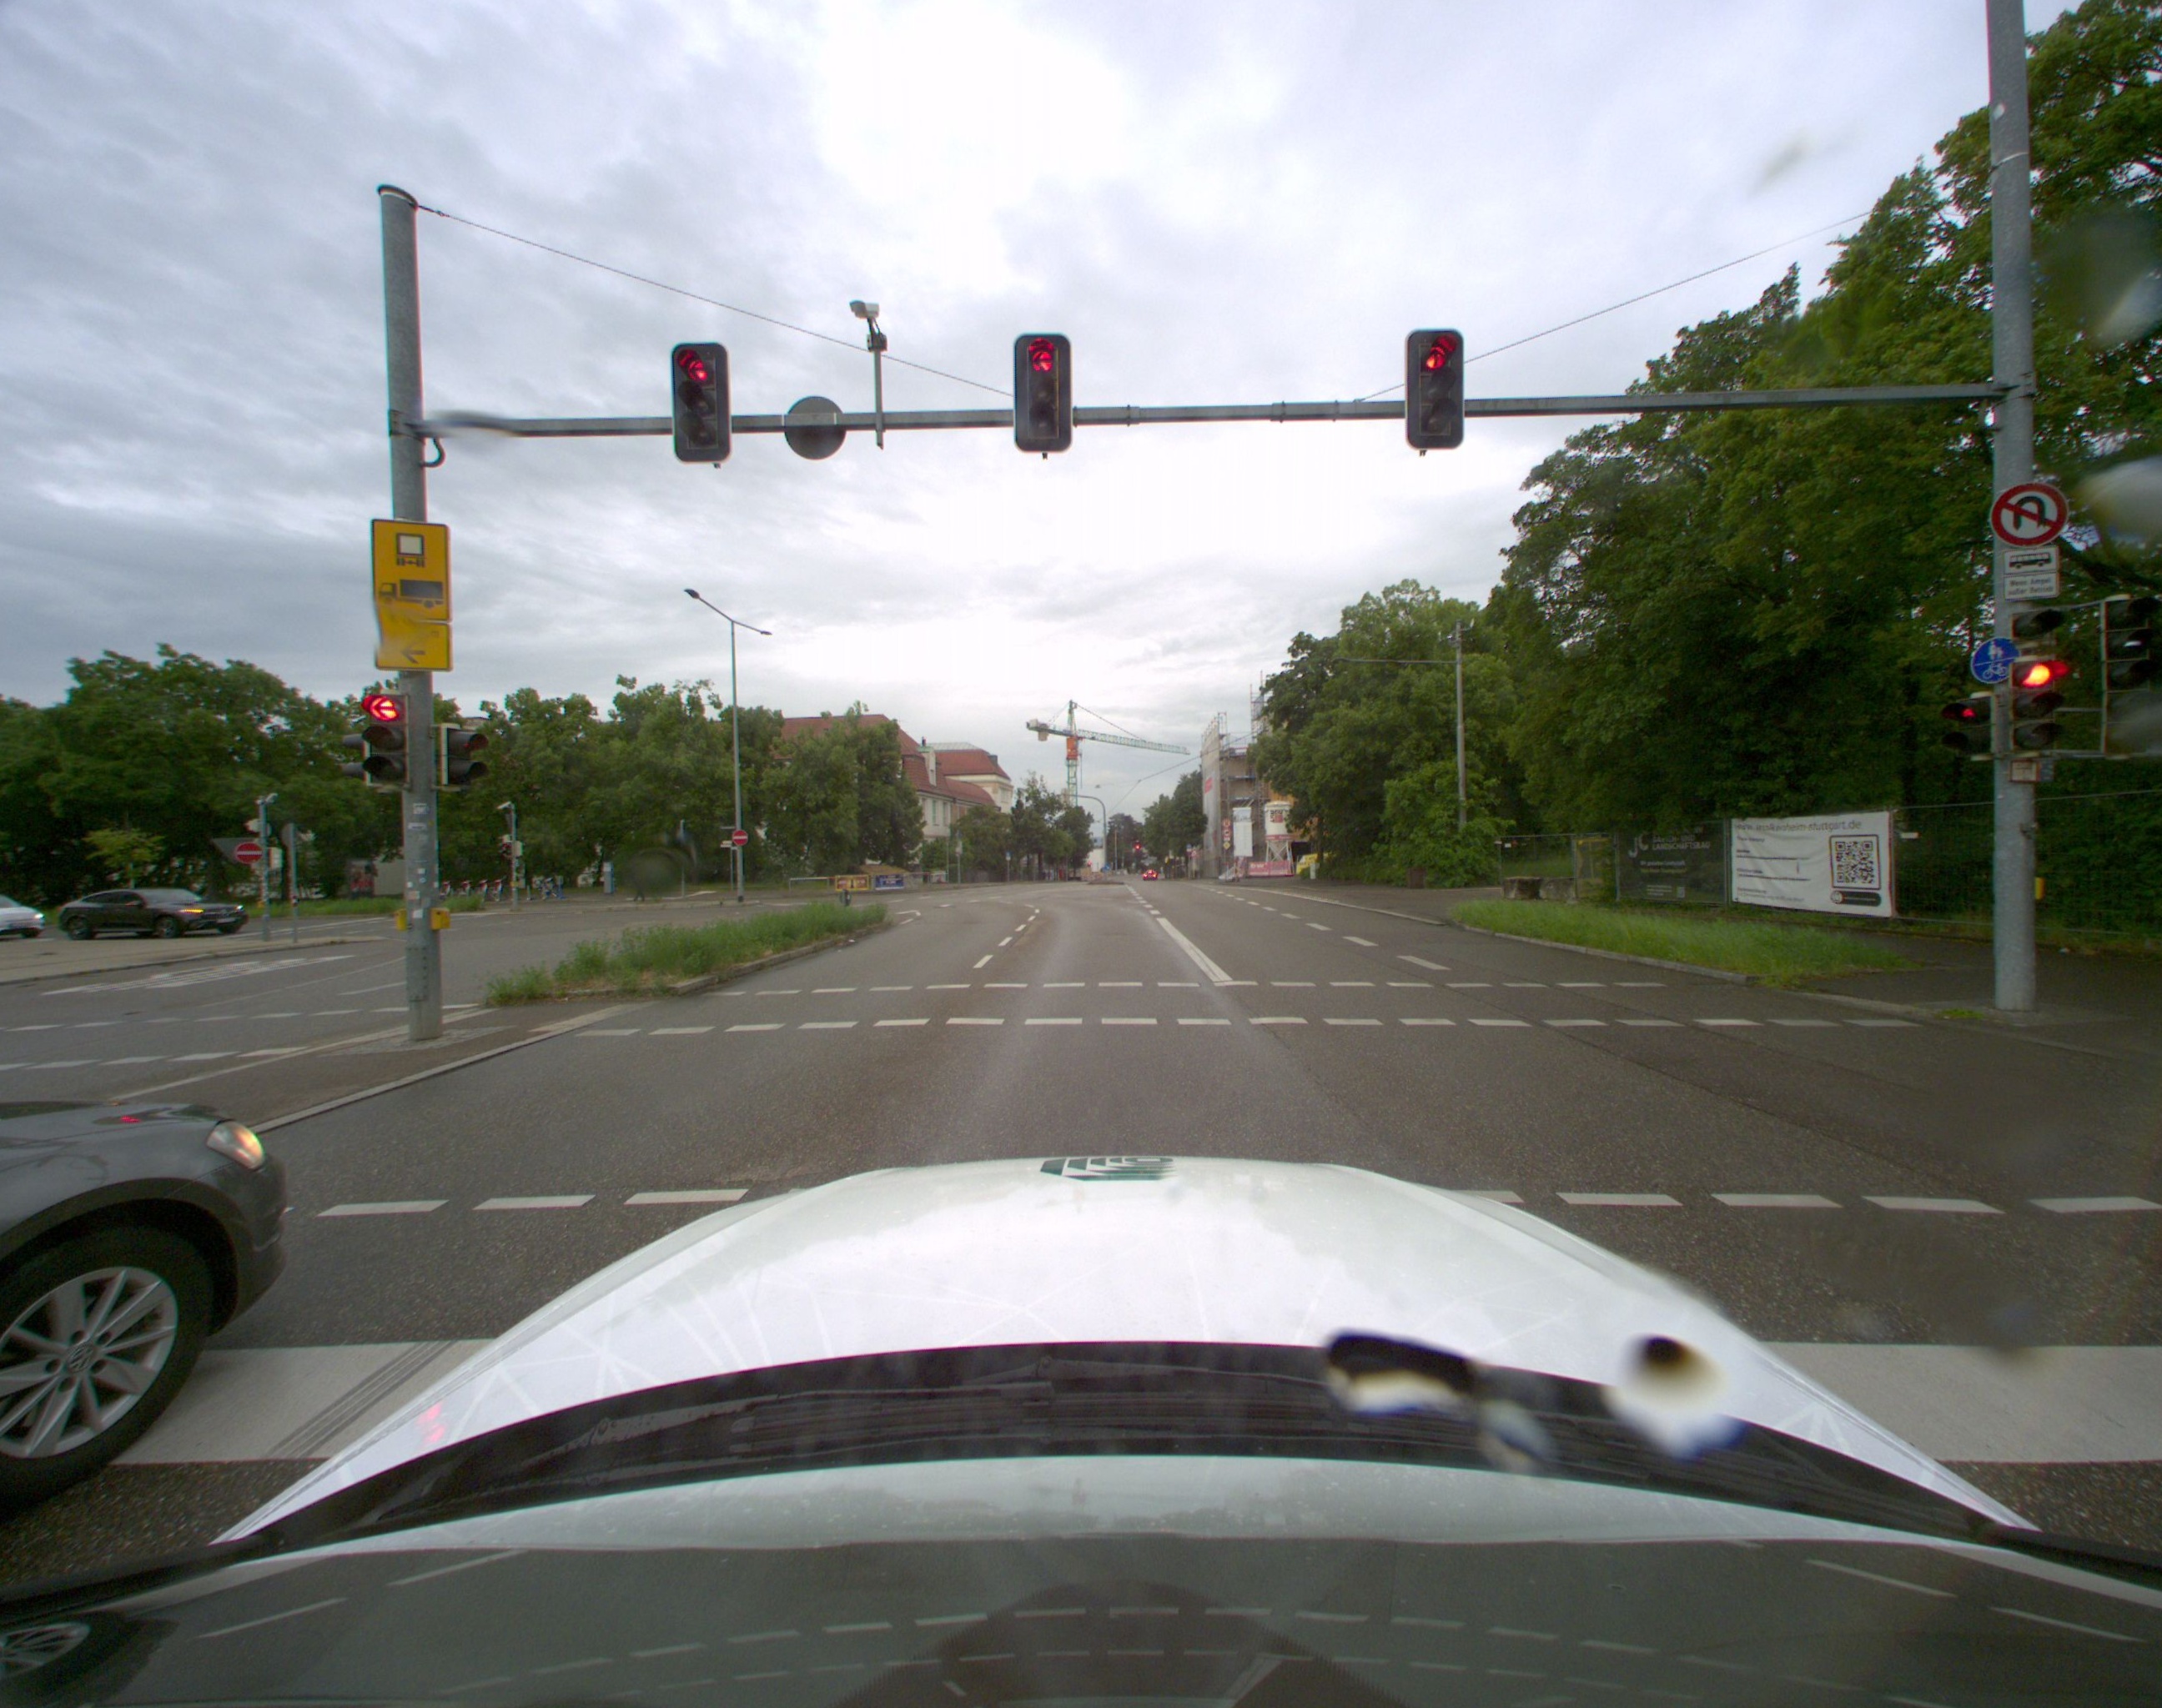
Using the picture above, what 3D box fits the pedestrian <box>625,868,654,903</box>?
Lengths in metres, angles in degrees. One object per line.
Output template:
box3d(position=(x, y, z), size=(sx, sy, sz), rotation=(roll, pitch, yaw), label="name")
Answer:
box3d(position=(-22.224, 1.587, 41.021), size=(0.917, 1.727, 0.948), rotation=(-1, -1, 8), label="pedestrian")

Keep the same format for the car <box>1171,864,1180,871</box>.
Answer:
box3d(position=(25.439, 3.512, 218.958), size=(1.980, 1.750, 4.014), rotation=(-2, 0, 13), label="car")

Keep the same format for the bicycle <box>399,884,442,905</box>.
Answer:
box3d(position=(-35.966, 2.175, 44.369), size=(0.649, 1.071, 1.982), rotation=(0, -1, 2), label="bicycle")

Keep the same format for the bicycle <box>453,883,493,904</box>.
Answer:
box3d(position=(-33.021, 2.116, 44.278), size=(0.649, 1.071, 1.982), rotation=(0, -1, 2), label="bicycle")

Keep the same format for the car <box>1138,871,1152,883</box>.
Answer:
box3d(position=(10.175, 3.659, 130.277), size=(1.986, 1.750, 4.001), rotation=(-2, 0, 1), label="car")

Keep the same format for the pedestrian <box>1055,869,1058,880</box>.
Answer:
box3d(position=(-3.649, 2.991, 121.207), size=(0.492, 1.645, 0.533), rotation=(0, -1, -4), label="pedestrian")

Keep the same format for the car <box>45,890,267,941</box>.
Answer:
box3d(position=(-30.076, 1.982, 26.589), size=(5.006, 1.500, 2.001), rotation=(0, -1, 1), label="car")

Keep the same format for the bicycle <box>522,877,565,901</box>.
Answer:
box3d(position=(-29.438, 1.915, 44.619), size=(0.987, 1.249, 1.982), rotation=(0, -1, 2), label="bicycle")

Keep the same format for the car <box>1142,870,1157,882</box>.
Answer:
box3d(position=(10.440, 3.376, 124.473), size=(1.986, 1.750, 4.001), rotation=(-2, 0, 1), label="car")

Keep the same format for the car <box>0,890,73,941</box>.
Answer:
box3d(position=(-36.497, 2.033, 27.053), size=(3.539, 1.594, 2.001), rotation=(0, -1, 1), label="car")

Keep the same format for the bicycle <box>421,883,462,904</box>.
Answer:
box3d(position=(-34.989, 2.139, 44.584), size=(0.649, 1.071, 1.982), rotation=(0, -1, 2), label="bicycle")

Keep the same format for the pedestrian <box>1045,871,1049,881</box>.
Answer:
box3d(position=(-4.972, 3.278, 119.658), size=(0.473, 1.396, 0.411), rotation=(-2, -1, 1), label="pedestrian")

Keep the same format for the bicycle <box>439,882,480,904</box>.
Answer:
box3d(position=(-33.910, 2.112, 44.453), size=(0.649, 1.071, 1.982), rotation=(0, -1, 2), label="bicycle")

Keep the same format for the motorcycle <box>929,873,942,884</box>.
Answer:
box3d(position=(-11.616, 1.937, 64.872), size=(0.846, 0.877, 0.877), rotation=(0, -1, 1), label="motorcycle")

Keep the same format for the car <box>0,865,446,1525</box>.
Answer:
box3d(position=(-3.403, 0.801, 0.919), size=(1.809, 1.481, 4.378), rotation=(-2, 0, 2), label="car")

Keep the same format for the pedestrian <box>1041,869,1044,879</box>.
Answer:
box3d(position=(-5.644, 2.923, 119.684), size=(0.473, 1.396, 0.411), rotation=(-2, -1, 1), label="pedestrian")

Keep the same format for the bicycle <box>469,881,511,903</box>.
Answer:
box3d(position=(-32.271, 2.064, 44.510), size=(0.798, 1.071, 1.982), rotation=(0, -1, 2), label="bicycle")
